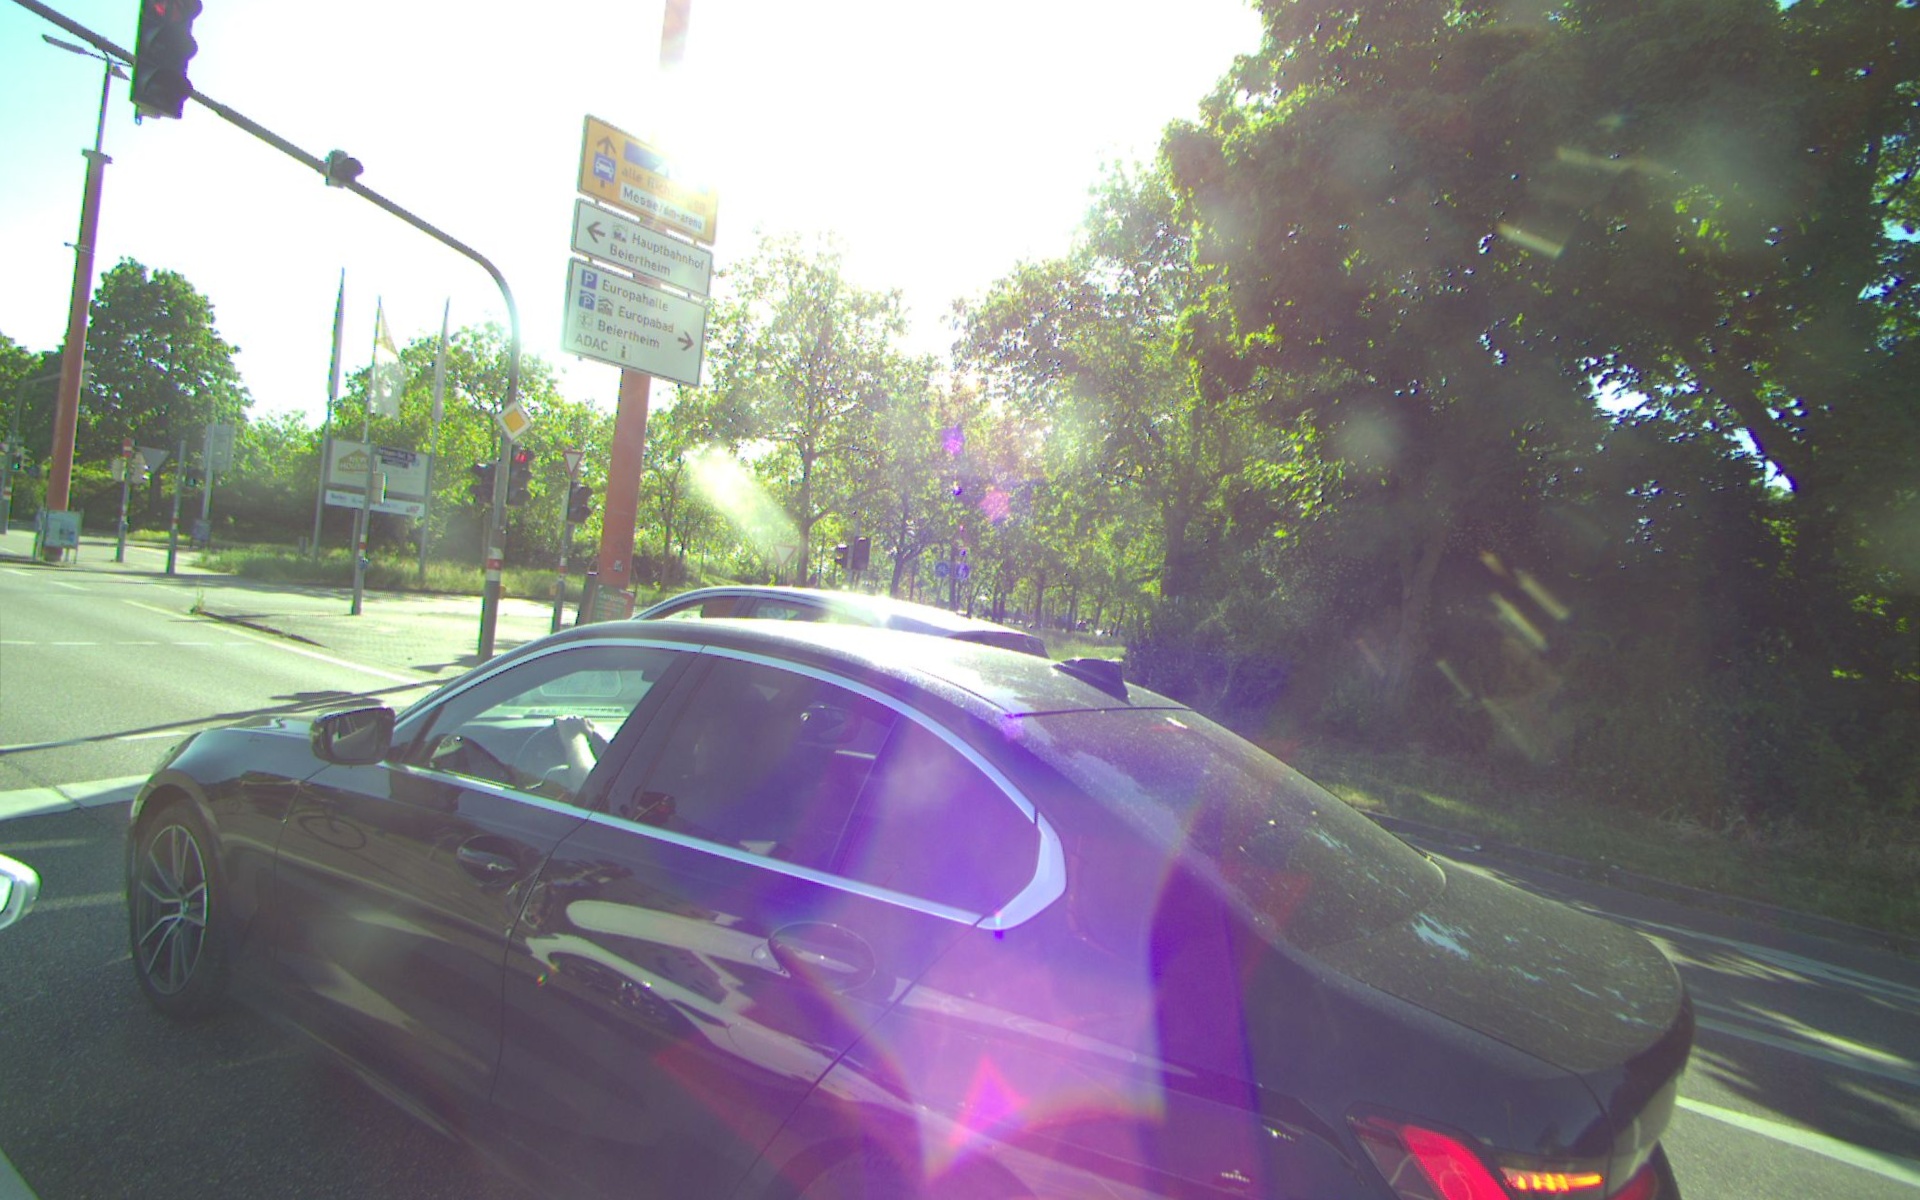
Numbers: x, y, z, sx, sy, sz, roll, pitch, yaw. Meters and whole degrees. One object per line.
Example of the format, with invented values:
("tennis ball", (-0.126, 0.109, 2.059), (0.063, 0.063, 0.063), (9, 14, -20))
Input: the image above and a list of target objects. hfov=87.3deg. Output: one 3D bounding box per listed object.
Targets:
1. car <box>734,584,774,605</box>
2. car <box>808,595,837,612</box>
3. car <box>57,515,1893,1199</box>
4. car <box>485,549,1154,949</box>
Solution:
("car", (-19.492, -0.487, 95.234), (1.751, 1.503, 4.332), (7, -1, 16))
("car", (-15.035, 0.366, 110.145), (1.652, 1.485, 3.997), (7, -1, 14))
("car", (-0.568, 0.710, 2.895), (4.371, 1.415, 1.871), (7, 0, 33))
("car", (-1.021, 0.707, 6.487), (3.963, 1.597, 1.741), (7, 0, 33))
